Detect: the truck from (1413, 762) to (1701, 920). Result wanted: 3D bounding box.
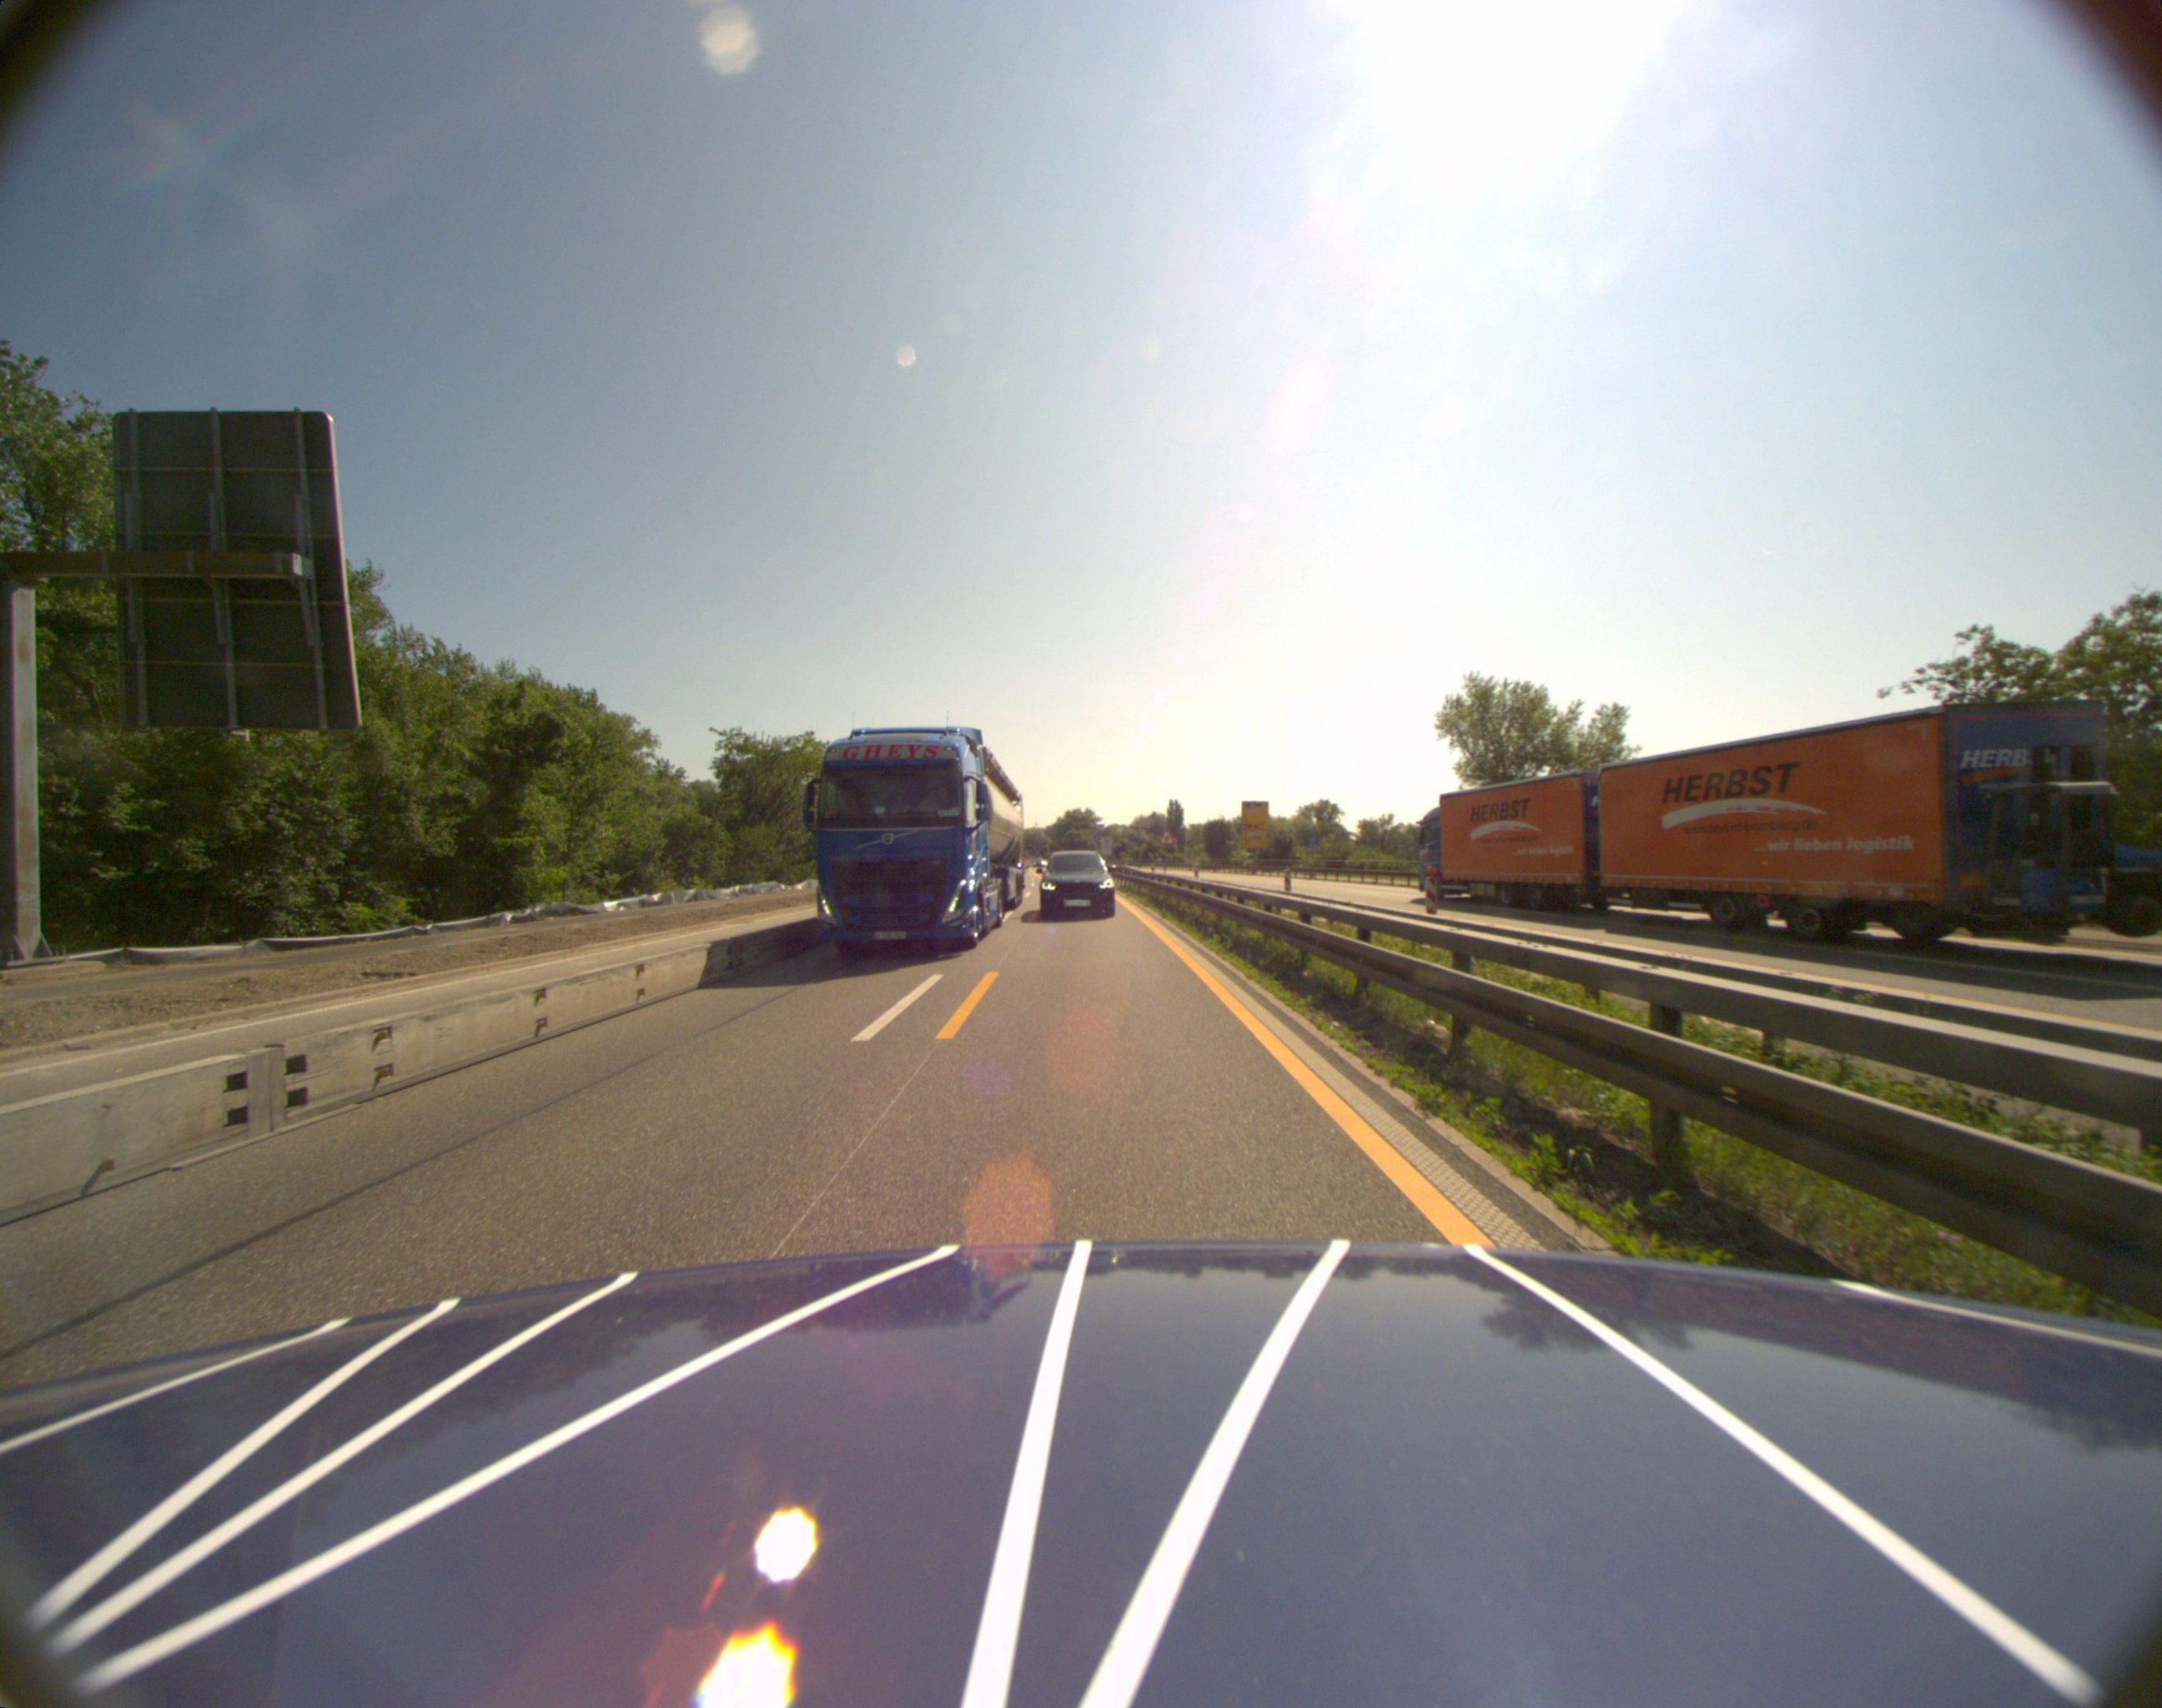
[{"bbox_3d":[14.866,-0.334,25.343,3.045,4.067,10.624,-2,0,1],"label":"truck"}]

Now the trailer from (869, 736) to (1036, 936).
[{"bbox_3d":[-3.052,-0.361,22.159,2.701,4.113,12.614,1,0,0],"label":"trailer"}]

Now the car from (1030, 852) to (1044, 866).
[{"bbox_3d":[-6.962,0.788,119.751,1.999,2.002,4.000,1,0,-1],"label":"car"}]

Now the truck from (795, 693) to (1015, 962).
[{"bbox_3d":[-3.007,-0.393,15.281,2.701,4.078,7.300,1,0,0],"label":"truck"}]

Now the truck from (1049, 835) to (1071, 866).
[{"bbox_3d":[-2.829,-0.474,104.725,2.861,3.961,8.664,1,0,-1],"label":"truck"}]

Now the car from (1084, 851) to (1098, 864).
[{"bbox_3d":[1.976,0.735,152.447,2.152,2.645,5.543,0,0,-5],"label":"car"}]

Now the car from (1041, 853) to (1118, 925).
[{"bbox_3d":[-0.081,0.820,20.311,1.789,1.651,4.486,-2,0,-1],"label":"car"}]

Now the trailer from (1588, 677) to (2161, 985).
[{"bbox_3d":[14.760,-0.323,14.995,3.045,4.067,9.789,-2,0,1],"label":"trailer"}]

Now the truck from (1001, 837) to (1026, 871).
[{"bbox_3d":[-8.226,-0.021,93.049,2.862,3.961,8.661,1,0,-5],"label":"truck"}]
